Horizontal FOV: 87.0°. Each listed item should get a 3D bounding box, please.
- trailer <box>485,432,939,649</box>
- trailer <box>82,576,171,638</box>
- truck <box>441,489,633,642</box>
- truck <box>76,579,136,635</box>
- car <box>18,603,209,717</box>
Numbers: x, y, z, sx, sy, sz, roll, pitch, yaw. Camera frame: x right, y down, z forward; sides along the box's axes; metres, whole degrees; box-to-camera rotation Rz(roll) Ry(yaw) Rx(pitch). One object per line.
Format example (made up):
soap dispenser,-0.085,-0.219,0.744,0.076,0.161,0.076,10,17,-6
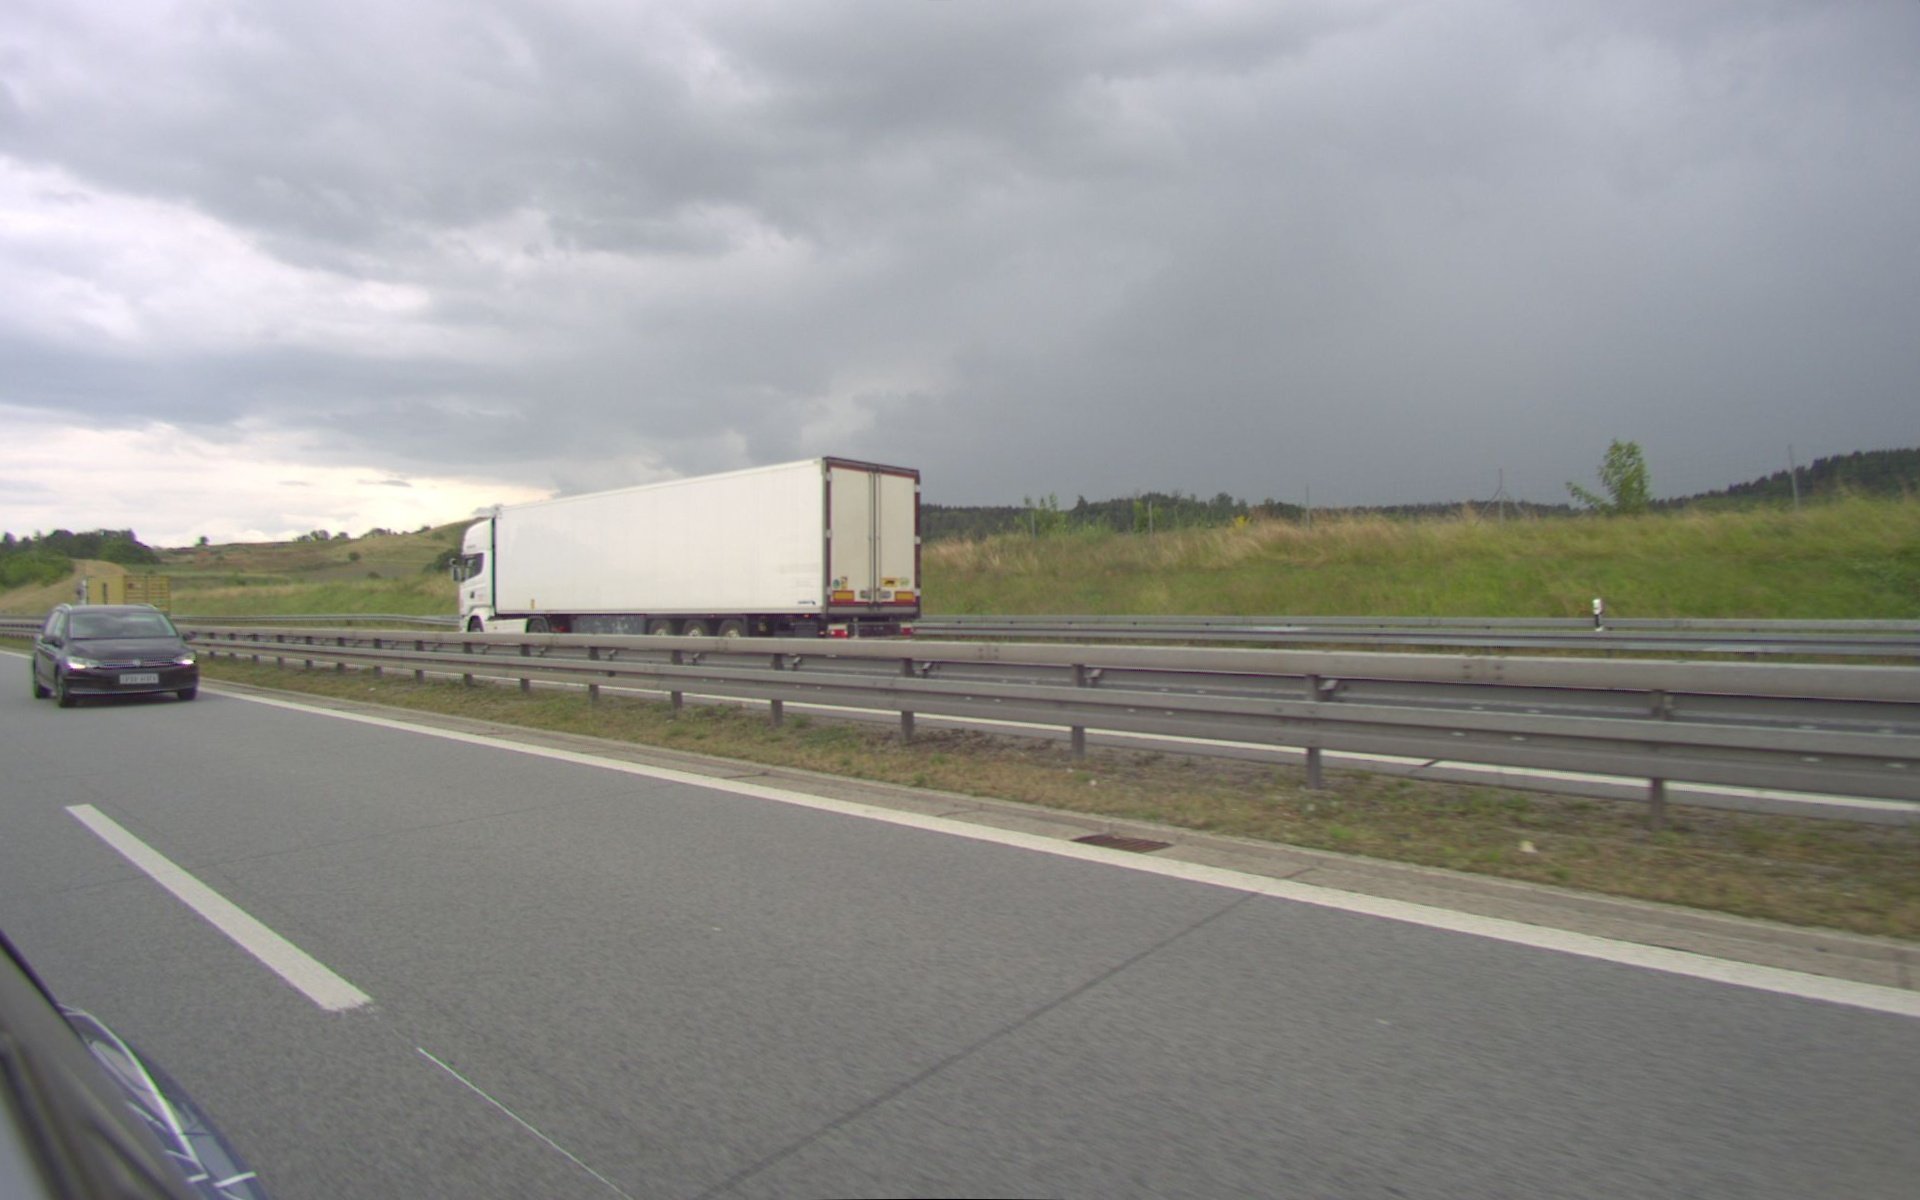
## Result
trailer,-6.753,-0.980,24.205,14.268,3.955,2.887,-1,0,41
trailer,-58.076,0.540,70.325,13.695,3.955,2.563,-1,0,41
truck,-12.215,-0.862,29.031,5.515,3.955,2.921,-1,0,41
truck,-63.087,0.517,74.717,5.585,3.955,2.565,-1,0,41
car,-14.942,0.943,17.740,5.396,1.683,1.876,-1,0,43
